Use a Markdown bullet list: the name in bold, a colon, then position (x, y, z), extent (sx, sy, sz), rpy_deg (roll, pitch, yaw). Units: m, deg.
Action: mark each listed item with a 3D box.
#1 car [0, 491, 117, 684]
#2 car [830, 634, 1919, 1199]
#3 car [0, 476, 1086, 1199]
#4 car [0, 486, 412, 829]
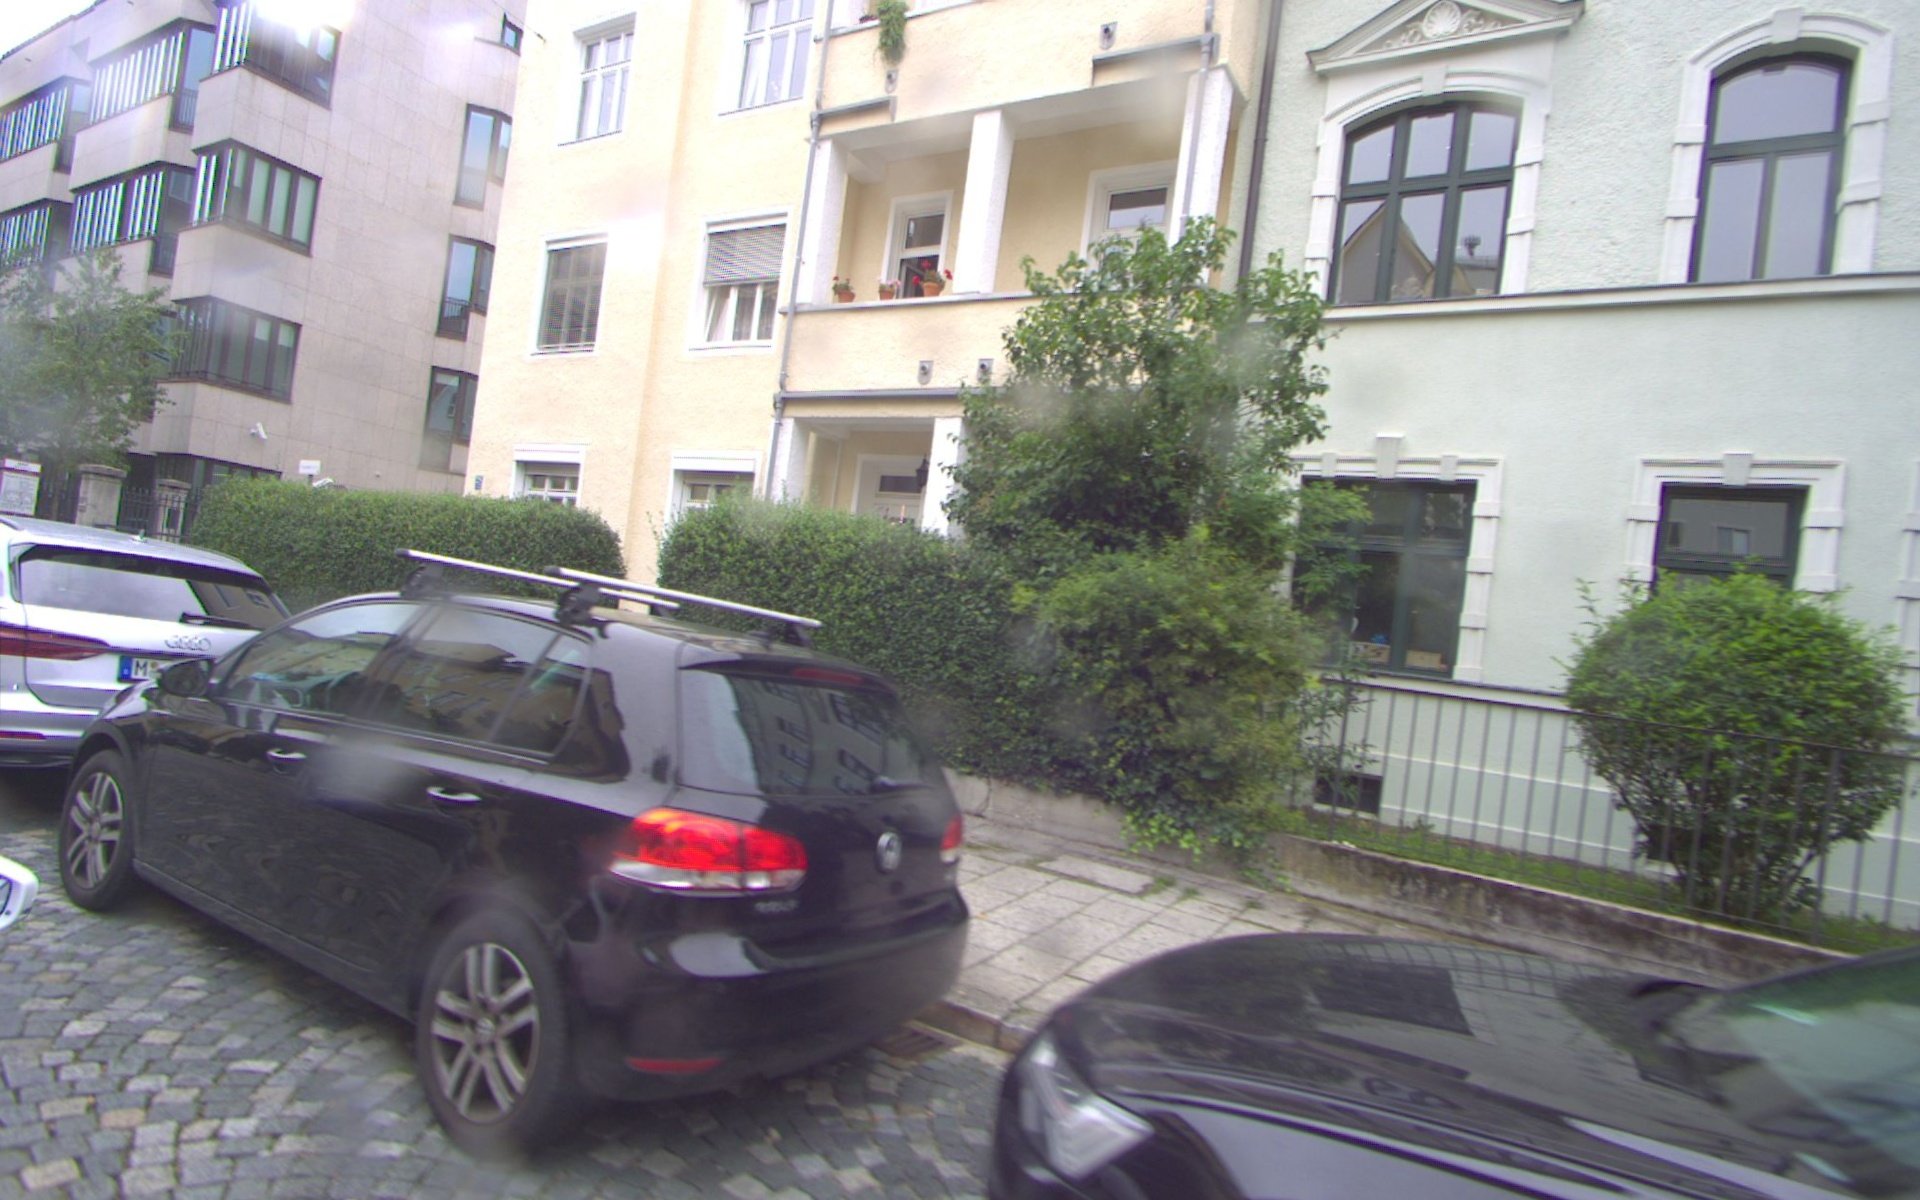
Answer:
- **car**: position (-10.275, -0.402, 9.455), extent (4.931, 1.568, 2.000), rpy_deg (7, -4, 32)
- **car**: position (2.354, 1.178, 1.305), extent (4.966, 1.504, 1.824), rpy_deg (7, -4, 32)
- **car**: position (-1.894, 0.604, 4.104), extent (4.222, 1.672, 1.899), rpy_deg (7, -3, 31)
- **car**: position (-6.033, 0.139, 6.609), extent (4.904, 1.569, 1.998), rpy_deg (7, -3, 33)
